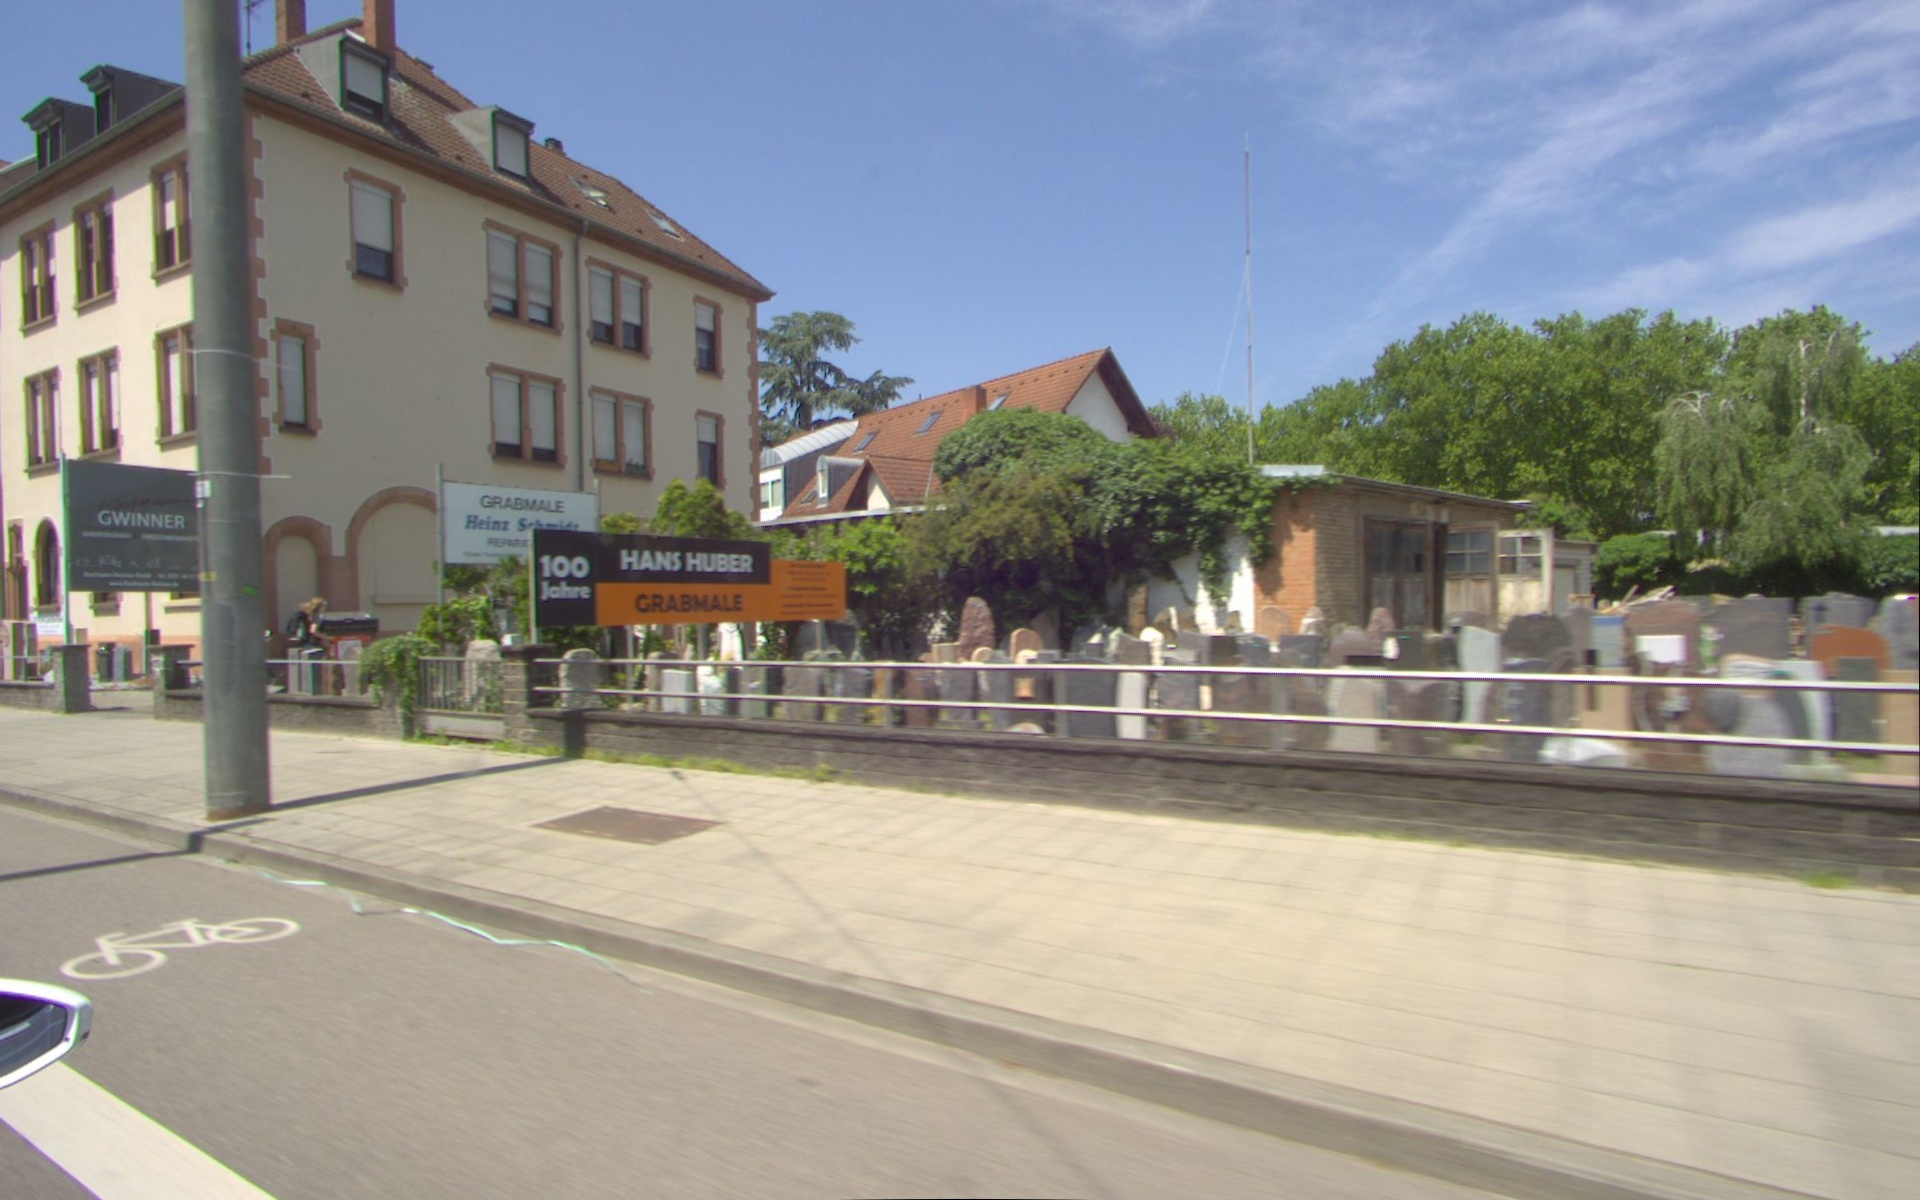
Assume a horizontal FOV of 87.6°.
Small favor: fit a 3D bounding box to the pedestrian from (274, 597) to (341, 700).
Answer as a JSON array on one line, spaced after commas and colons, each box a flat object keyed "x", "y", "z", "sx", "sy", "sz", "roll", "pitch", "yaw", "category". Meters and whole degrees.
[{"x": -11.174, "y": 0.805, "z": 17.157, "sx": 0.582, "sy": 1.713, "sz": 0.820, "roll": -1, "pitch": 0, "yaw": 41, "category": "pedestrian"}]

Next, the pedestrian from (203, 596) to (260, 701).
[{"x": -12.649, "y": 0.826, "z": 17.393, "sx": 0.497, "sy": 1.796, "sz": 0.684, "roll": -1, "pitch": 0, "yaw": 41, "category": "pedestrian"}]

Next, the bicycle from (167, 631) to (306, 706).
[{"x": -12.288, "y": 1.129, "z": 17.060, "sx": 0.582, "sy": 1.142, "sz": 1.794, "roll": -1, "pitch": 1, "yaw": 37, "category": "bicycle"}]

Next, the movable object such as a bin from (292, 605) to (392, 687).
[{"x": -12.284, "y": 0.896, "z": 19.936, "sx": 1.031, "sy": 1.519, "sz": 1.326, "roll": -1, "pitch": 2, "yaw": 32, "category": "movable object such as a bin"}]
